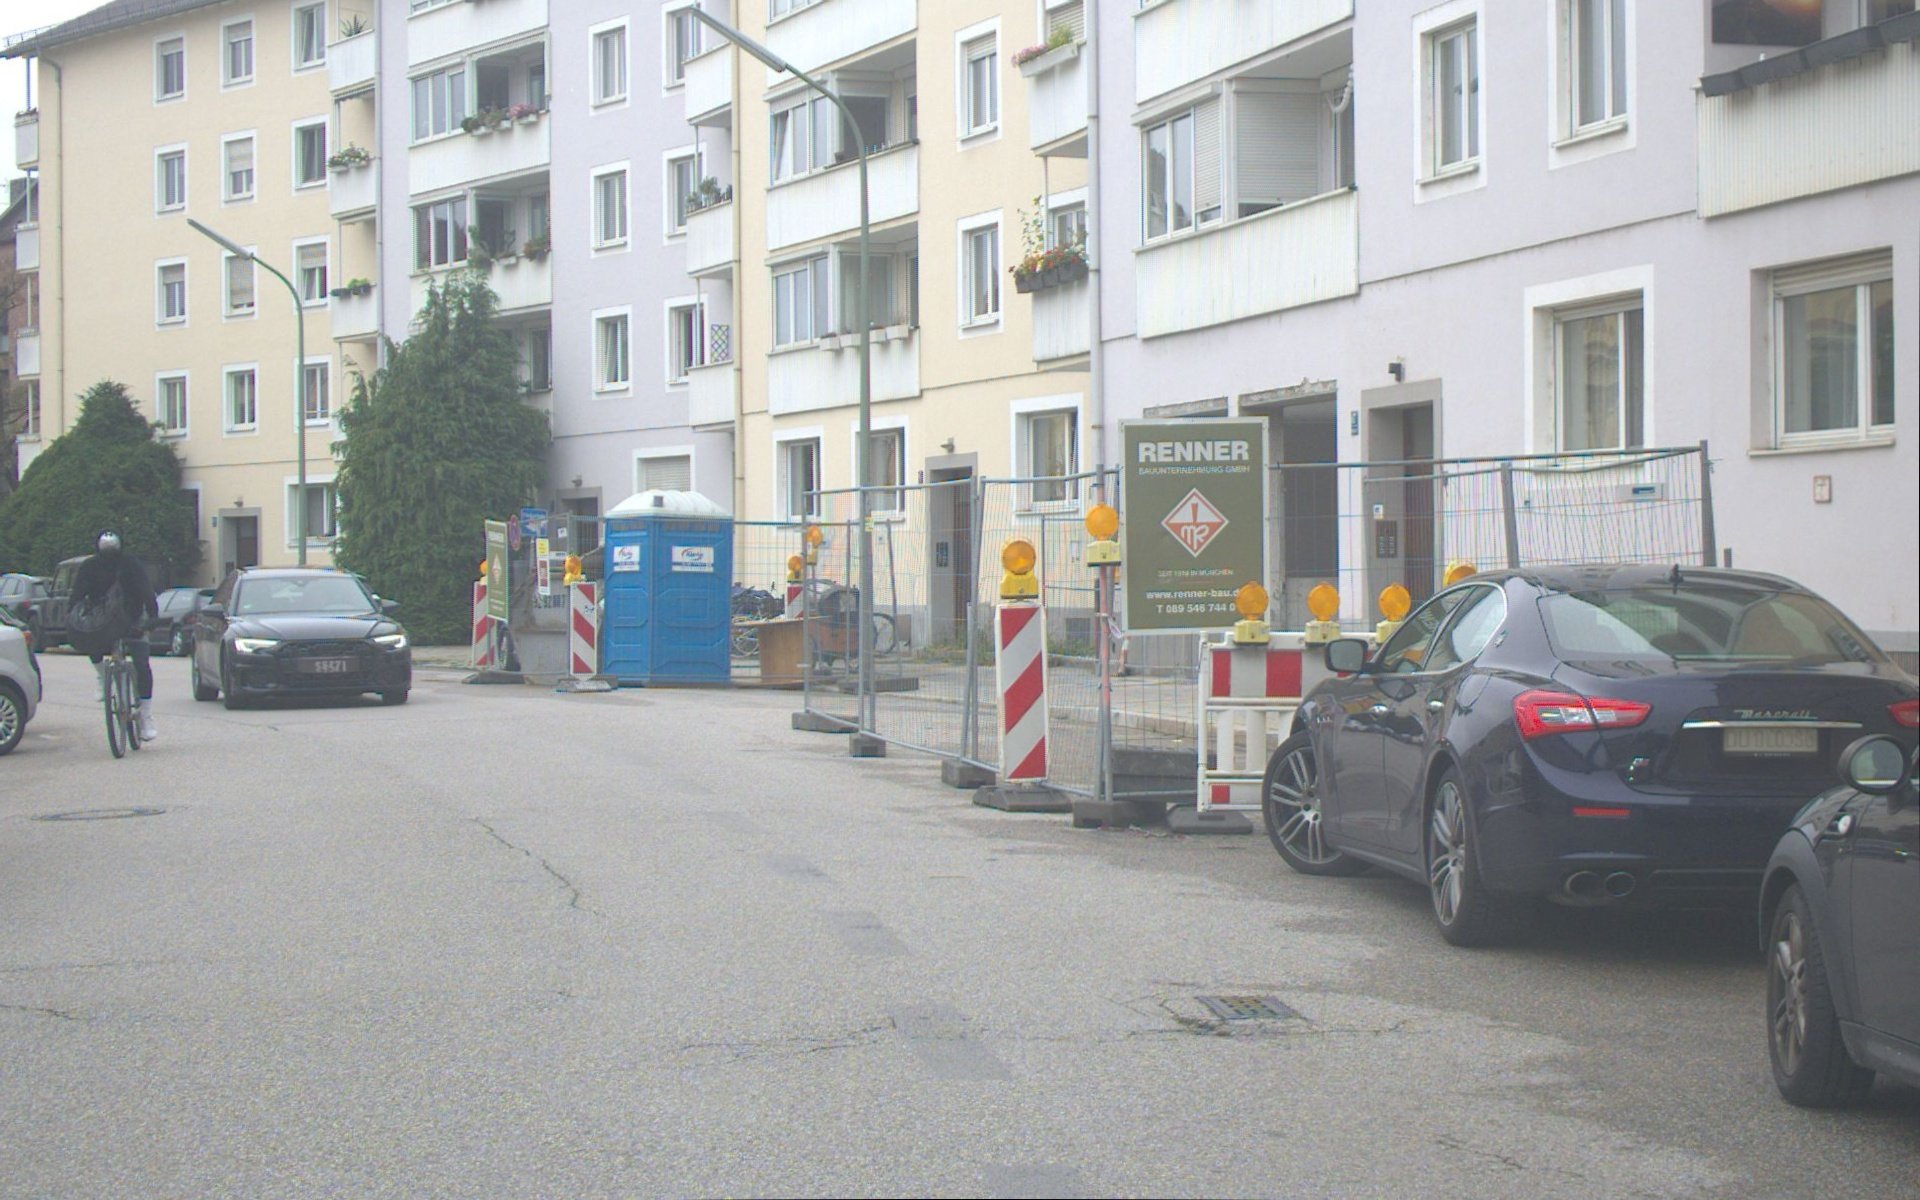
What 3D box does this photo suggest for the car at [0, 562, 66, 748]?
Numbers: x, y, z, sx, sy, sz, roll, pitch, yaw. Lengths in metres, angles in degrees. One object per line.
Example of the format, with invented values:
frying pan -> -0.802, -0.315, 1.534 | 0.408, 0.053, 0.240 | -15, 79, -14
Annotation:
car -> -9.361, 0.537, 27.755 | 1.713, 1.502, 3.801 | -2, 1, 41

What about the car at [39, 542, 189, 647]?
car -> -16.881, -0.118, 68.490 | 1.781, 1.970, 3.720 | -3, 1, -32

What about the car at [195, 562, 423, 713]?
car -> -6.991, 0.369, 36.543 | 1.919, 1.407, 4.705 | -3, 1, -16

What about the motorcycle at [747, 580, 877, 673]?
motorcycle -> -2.033, 0.338, 46.790 | 0.931, 1.217, 2.508 | 0, 1, -24

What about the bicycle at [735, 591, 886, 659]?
bicycle -> -2.384, 0.387, 54.817 | 2.232, 1.066, 0.920 | 0, 0, -23

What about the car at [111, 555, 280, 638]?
car -> -14.427, -0.077, 64.778 | 1.781, 1.514, 3.719 | 1, 0, -36

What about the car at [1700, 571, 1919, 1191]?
car -> 3.035, 0.666, 8.080 | 1.630, 1.412, 3.680 | 1, 1, -3

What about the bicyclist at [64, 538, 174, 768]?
bicyclist -> -6.687, 0.405, 27.367 | 0.744, 1.765, 0.815 | -3, 2, -13

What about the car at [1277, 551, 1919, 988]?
car -> 2.669, 0.556, 14.352 | 1.908, 1.472, 4.947 | 1, 1, -4

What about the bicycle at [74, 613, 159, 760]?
bicycle -> -6.710, 0.665, 27.339 | 0.585, 1.066, 1.937 | -3, 1, -14

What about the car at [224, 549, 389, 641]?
car -> -11.608, -0.108, 60.916 | 1.830, 1.568, 4.001 | 0, 0, -27

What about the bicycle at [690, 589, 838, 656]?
bicycle -> -3.205, 0.363, 56.127 | 2.232, 1.066, 0.920 | 0, 0, -23
